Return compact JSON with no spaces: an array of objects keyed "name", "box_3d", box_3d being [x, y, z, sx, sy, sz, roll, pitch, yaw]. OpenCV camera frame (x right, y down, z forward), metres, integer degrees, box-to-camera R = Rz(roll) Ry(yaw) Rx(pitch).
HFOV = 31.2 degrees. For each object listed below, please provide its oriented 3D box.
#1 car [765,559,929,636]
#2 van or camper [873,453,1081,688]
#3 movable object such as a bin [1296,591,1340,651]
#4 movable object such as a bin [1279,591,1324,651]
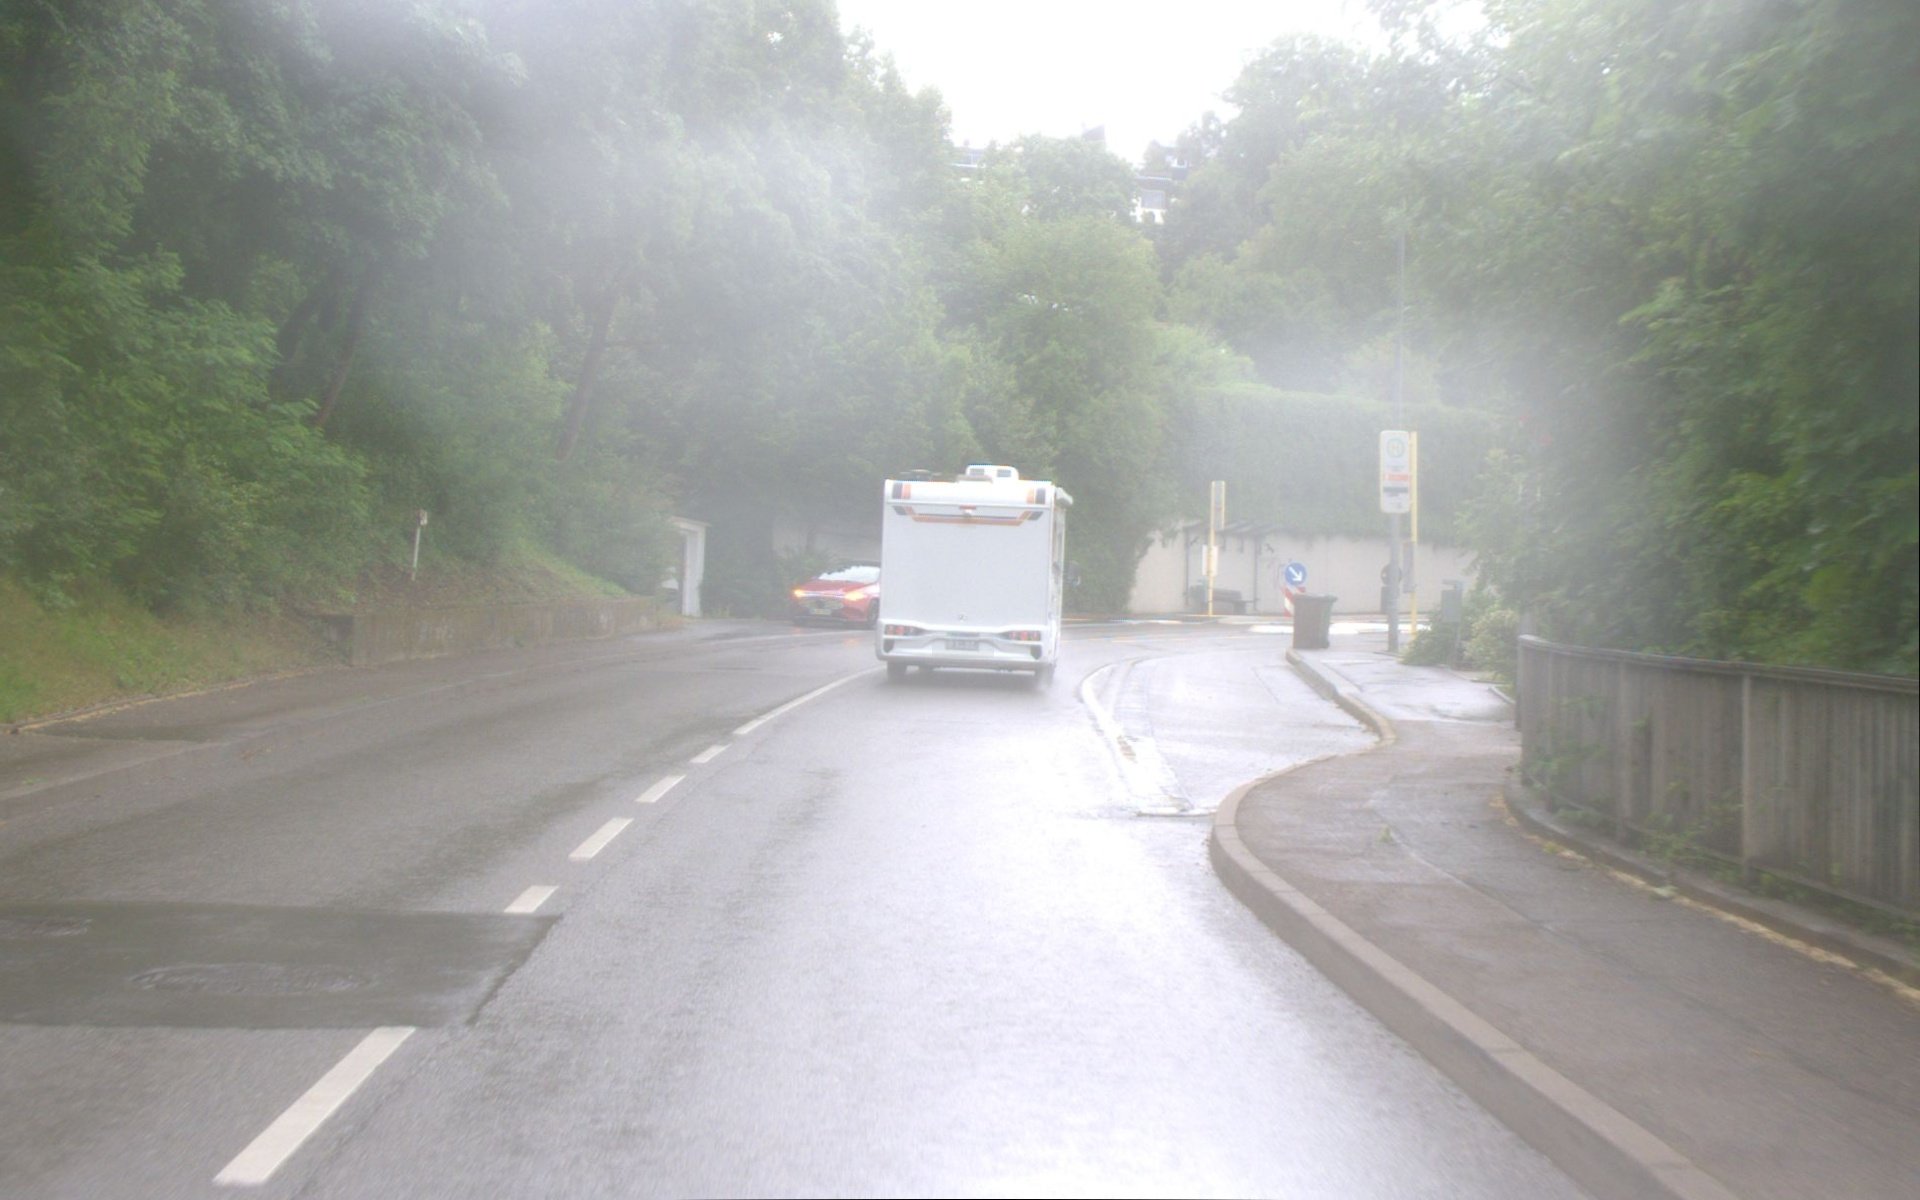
[{"name":"car","box_3d":[-2.419,-0.071,74.925,1.995,1.556,4.648,3,1,19]},{"name":"van or camper","box_3d":[0.319,-0.361,46.848,2.540,2.915,5.947,-2,0,2]},{"name":"movable object such as a bin","box_3d":[7.053,0.409,67.688,0.778,1.129,0.738,2,0,9]},{"name":"movable object such as a bin","box_3d":[6.600,0.397,66.455,0.778,1.129,0.738,2,0,9]}]
